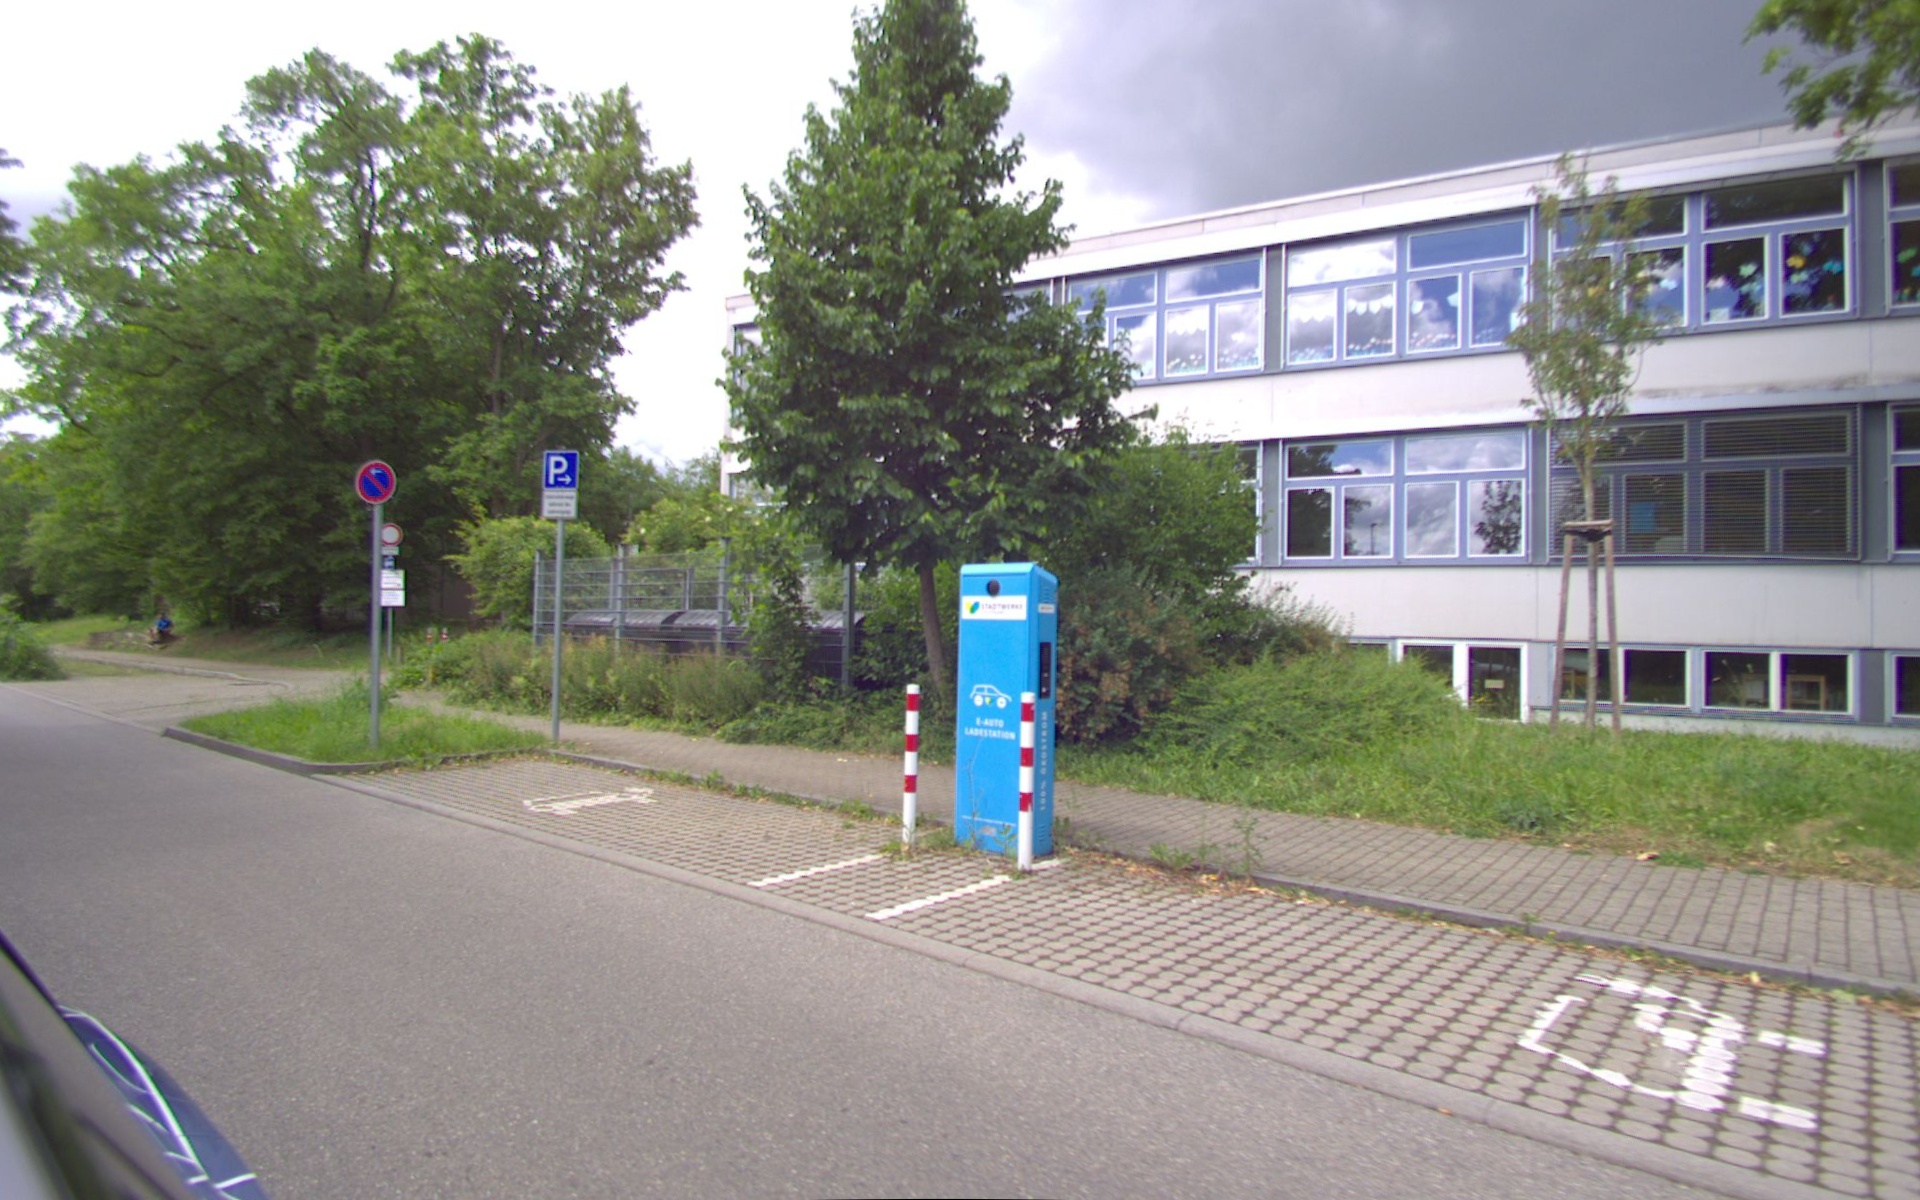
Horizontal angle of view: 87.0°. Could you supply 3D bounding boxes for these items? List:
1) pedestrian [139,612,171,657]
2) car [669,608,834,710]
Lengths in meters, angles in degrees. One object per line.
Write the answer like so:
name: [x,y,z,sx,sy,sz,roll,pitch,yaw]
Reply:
pedestrian: [-31.012,1.329,38.974,0.808,1.675,0.752,-1,-3,38]
car: [-4.675,1.262,22.374,1.968,2.029,4.008,2,-3,-38]
